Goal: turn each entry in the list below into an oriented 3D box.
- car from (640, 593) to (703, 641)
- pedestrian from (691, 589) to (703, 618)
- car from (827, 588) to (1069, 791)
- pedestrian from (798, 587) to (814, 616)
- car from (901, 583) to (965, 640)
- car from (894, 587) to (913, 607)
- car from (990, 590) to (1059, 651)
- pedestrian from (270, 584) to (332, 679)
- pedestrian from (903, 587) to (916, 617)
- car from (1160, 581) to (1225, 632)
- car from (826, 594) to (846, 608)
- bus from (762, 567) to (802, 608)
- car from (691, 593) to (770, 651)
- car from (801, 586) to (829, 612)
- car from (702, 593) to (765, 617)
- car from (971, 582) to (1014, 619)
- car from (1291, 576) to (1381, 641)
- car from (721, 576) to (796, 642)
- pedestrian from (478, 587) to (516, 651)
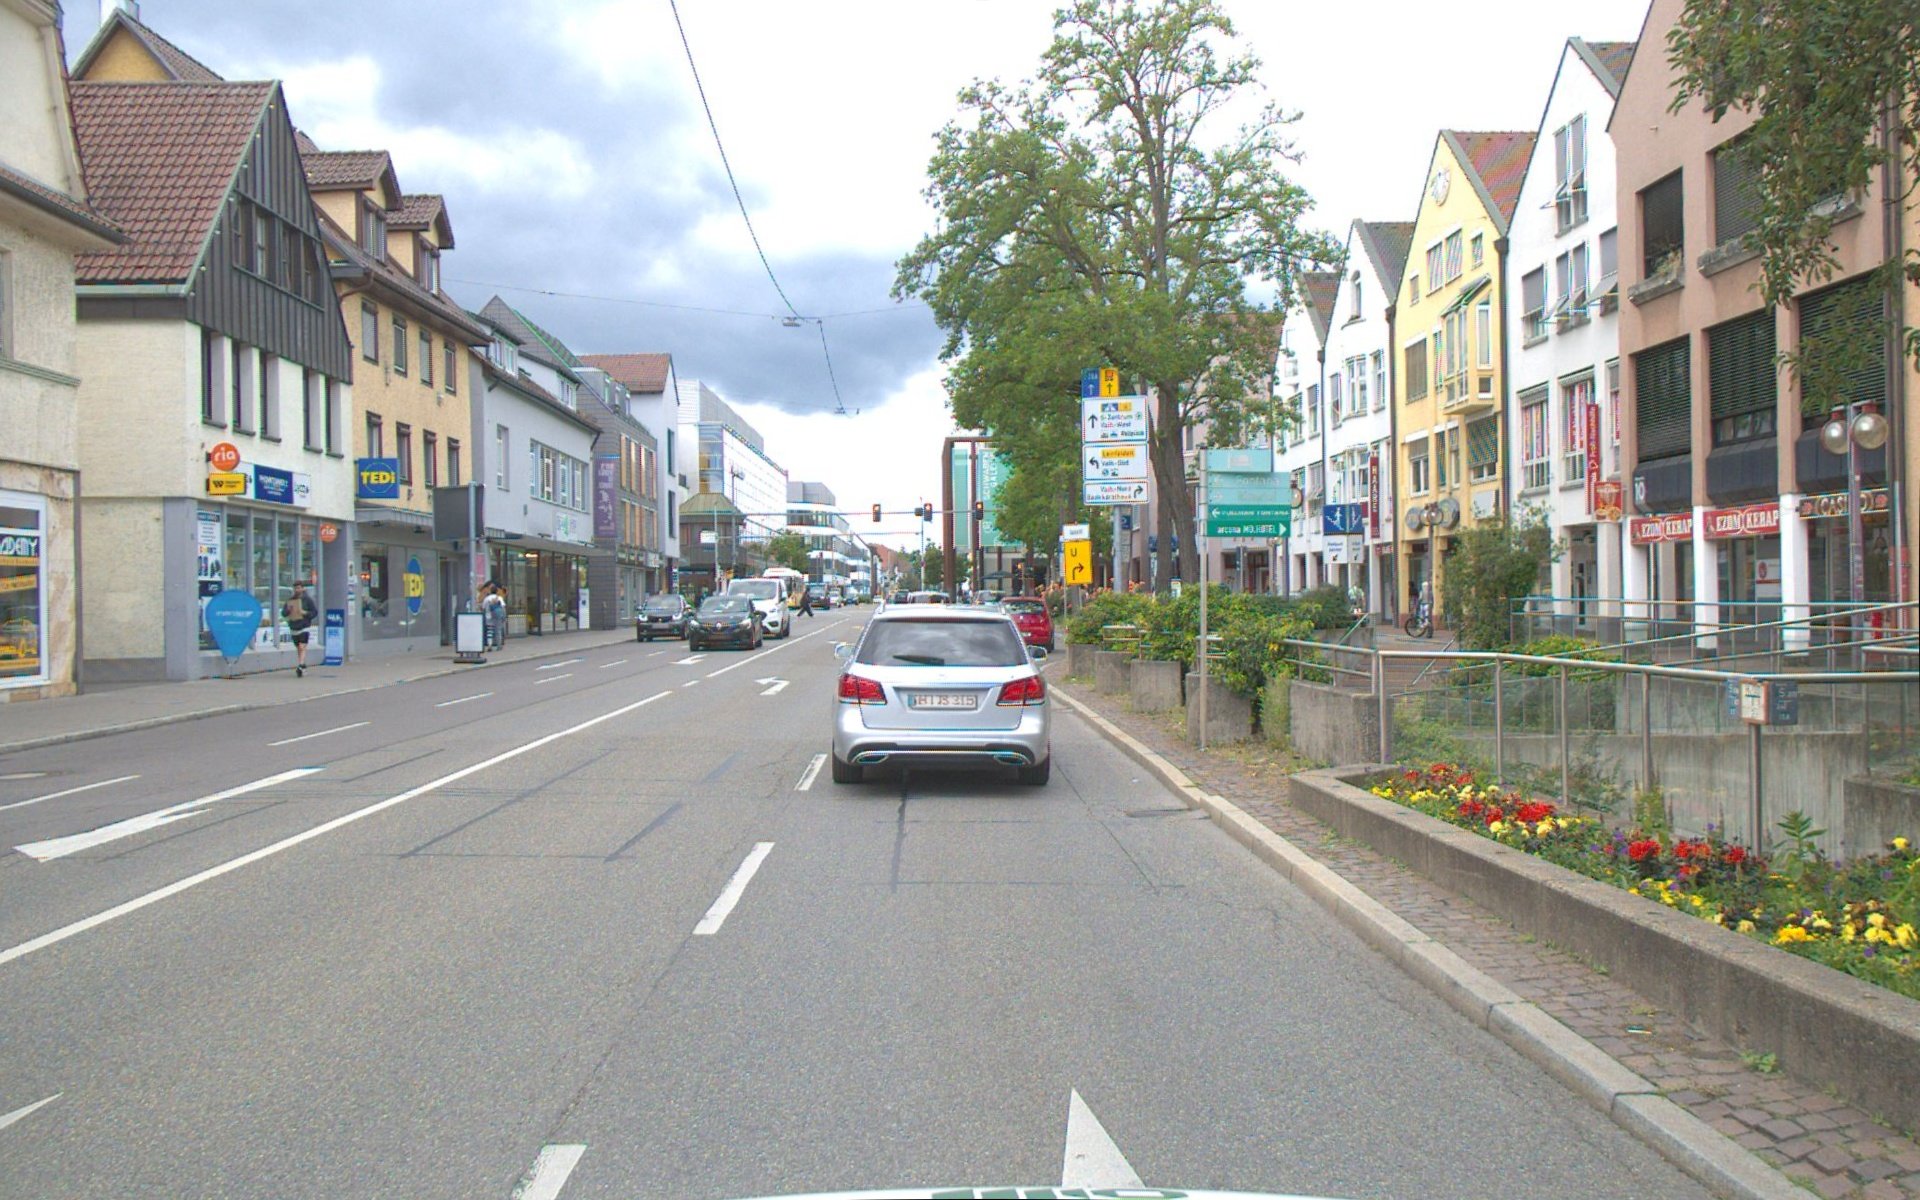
[{"bbox_3d":[-9.808,0.553,56.463,1.584,1.550,3.507,-2,0,-2],"label":"car"},{"bbox_3d":[-15.205,0.203,95.679,0.574,1.663,0.614,2,0,-4],"label":"pedestrian"},{"bbox_3d":[-0.194,0.674,14.579,1.837,1.532,3.997,0,0,-3],"label":"car"},{"bbox_3d":[-9.013,0.081,96.730,0.840,1.663,0.588,2,0,0],"label":"pedestrian"},{"bbox_3d":[-0.857,0.341,52.392,1.953,1.713,3.999,-1,0,-1],"label":"car"},{"bbox_3d":[-5.853,-0.315,172.062,1.953,2.049,3.999,-1,0,-2],"label":"car"},{"bbox_3d":[1.801,0.532,45.070,1.717,1.547,4.002,1,0,4],"label":"car"},{"bbox_3d":[-12.672,0.595,31.835,0.850,1.777,0.805,2,0,-6],"label":"pedestrian"},{"bbox_3d":[-2.899,0.112,95.279,0.602,1.663,0.586,2,0,-10],"label":"pedestrian"},{"bbox_3d":[8.946,0.217,63.989,1.829,1.897,3.999,-1,0,-2],"label":"car"},{"bbox_3d":[-11.418,0.063,152.292,1.543,1.266,3.606,-1,0,-1],"label":"car"},{"bbox_3d":[-14.549,-1.033,135.581,2.719,3.220,5.931,-1,0,-1],"label":"bus"},{"bbox_3d":[-6.146,0.551,44.634,1.584,1.453,3.922,-1,0,-1],"label":"car"},{"bbox_3d":[-11.738,-0.128,134.447,1.953,2.049,3.999,-1,0,-1],"label":"car"},{"bbox_3d":[-15.338,0.355,111.923,4.016,1.568,1.580,-1,0,0],"label":"car"},{"bbox_3d":[1.542,0.015,79.895,1.953,1.713,3.999,-1,0,-1],"label":"car"},{"bbox_3d":[11.613,0.239,51.326,1.829,1.897,3.999,-1,0,-1],"label":"car"},{"bbox_3d":[-6.633,0.276,54.973,1.922,1.995,5.138,-2,0,-1],"label":"car"},{"bbox_3d":[-12.365,0.494,44.170,0.801,1.663,0.979,1,0,-7],"label":"pedestrian"}]
